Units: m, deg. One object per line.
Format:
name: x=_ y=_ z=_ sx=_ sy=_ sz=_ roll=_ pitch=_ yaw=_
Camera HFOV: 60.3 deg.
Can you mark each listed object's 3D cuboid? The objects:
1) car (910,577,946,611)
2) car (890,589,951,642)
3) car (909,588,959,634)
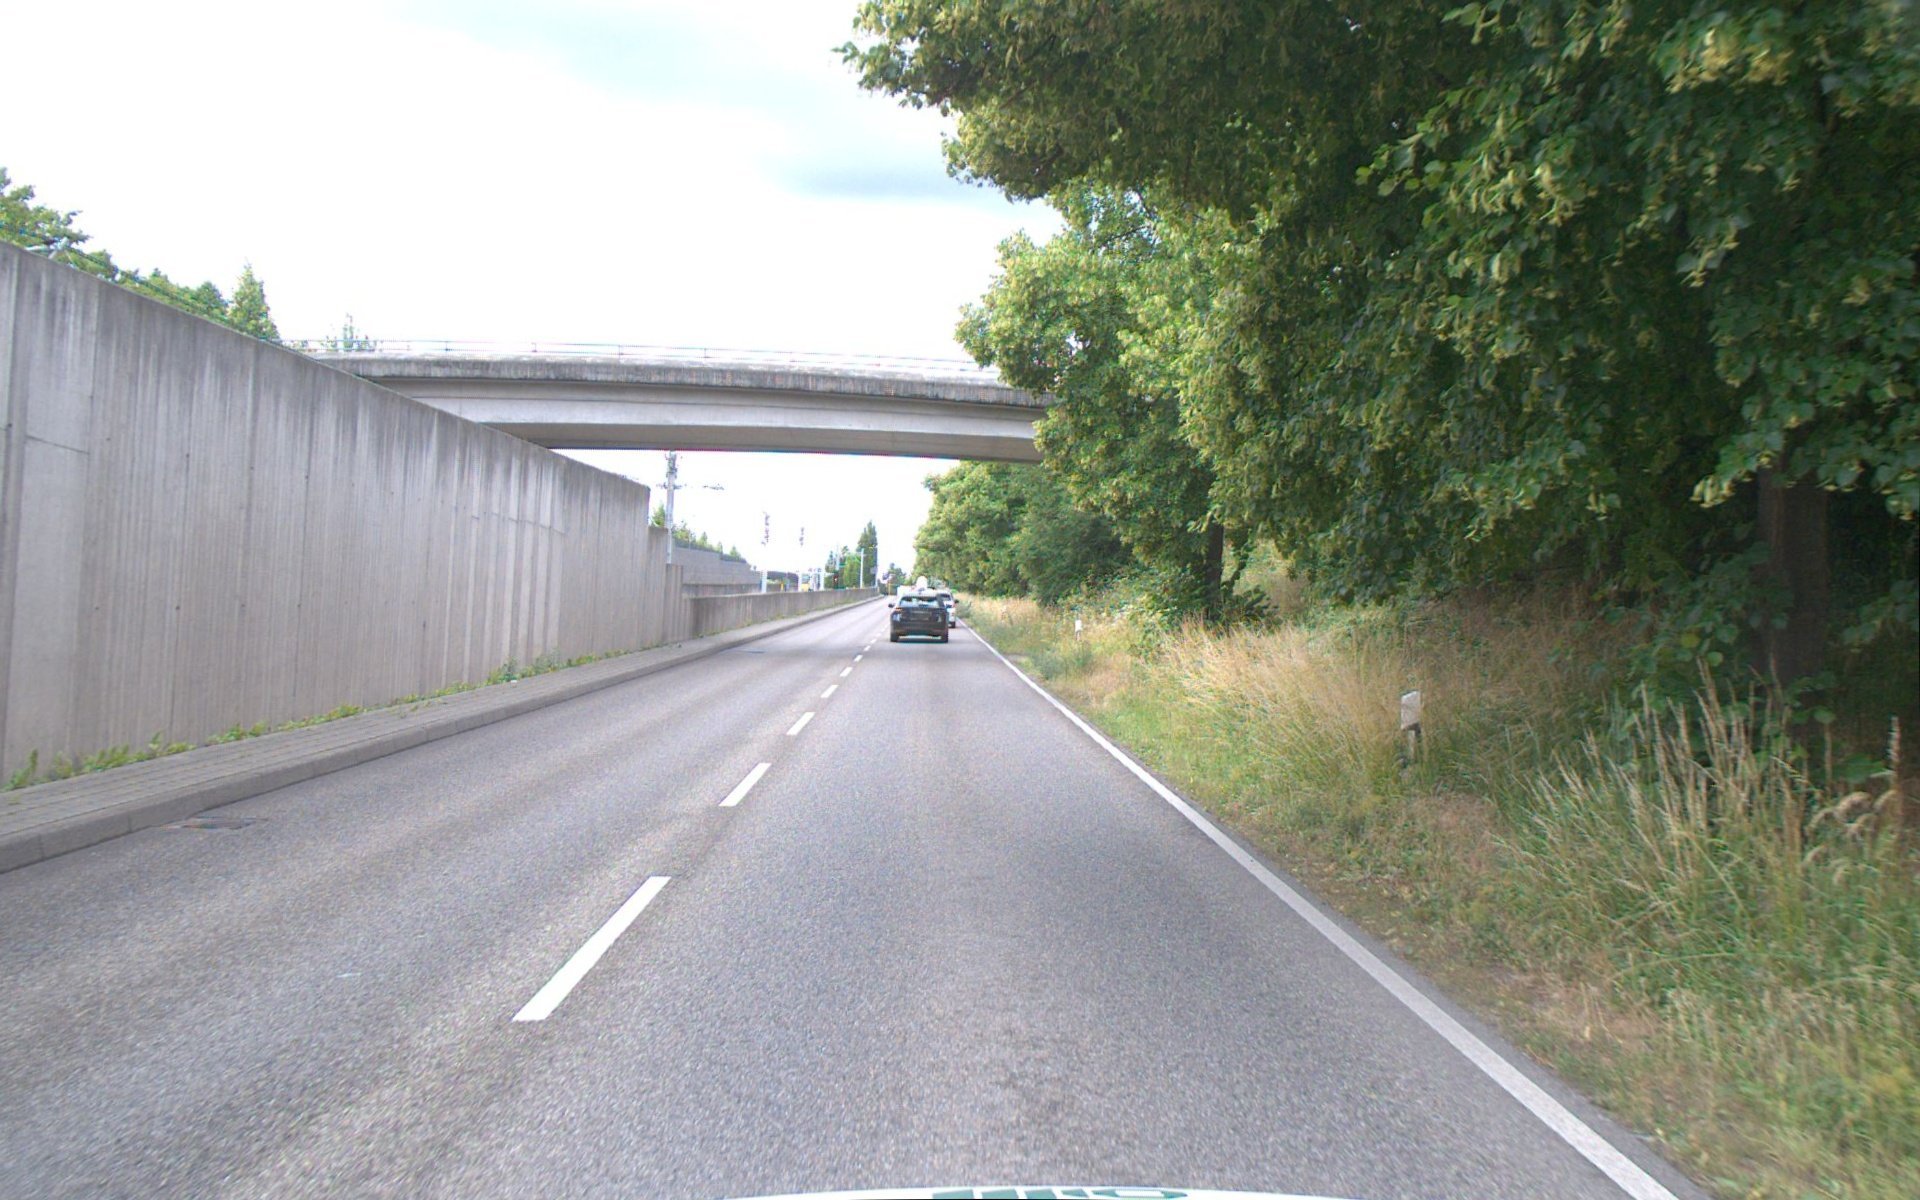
car: x=-1.773 y=-0.315 z=91.618 sx=1.953 sy=1.771 sz=3.999 roll=1 pitch=-1 yaw=-1
car: x=-1.170 y=0.442 z=49.586 sx=1.745 sy=1.493 sz=3.999 roll=1 pitch=0 yaw=-1
car: x=-1.054 y=0.414 z=67.408 sx=1.953 sy=1.783 sz=3.999 roll=1 pitch=0 yaw=-1
